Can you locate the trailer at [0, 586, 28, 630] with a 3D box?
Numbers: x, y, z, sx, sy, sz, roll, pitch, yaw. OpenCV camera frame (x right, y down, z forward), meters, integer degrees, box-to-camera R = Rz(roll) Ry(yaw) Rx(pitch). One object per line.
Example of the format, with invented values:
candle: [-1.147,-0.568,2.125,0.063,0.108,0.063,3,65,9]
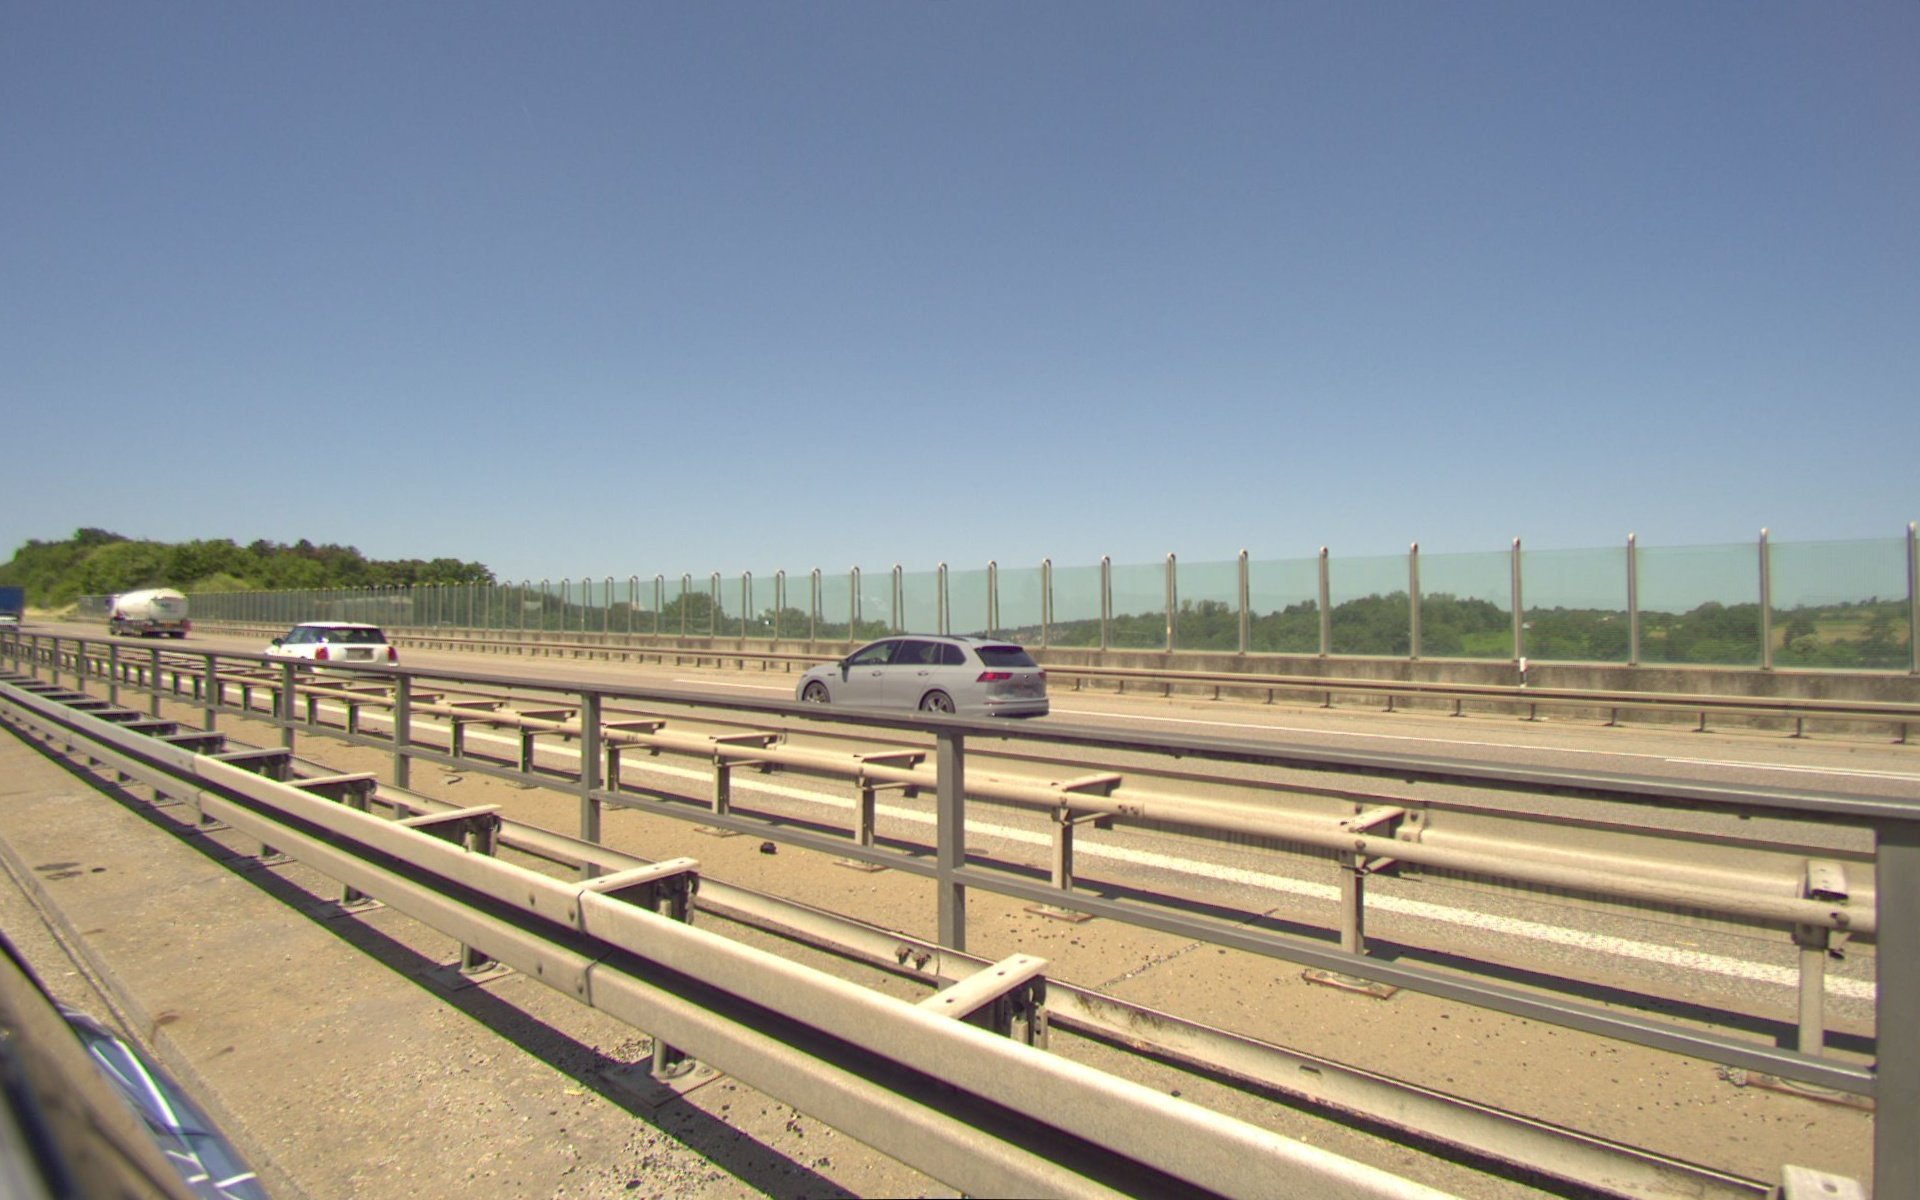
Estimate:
trailer: [-96.128,0.759,101.348,12.042,4.197,2.676,0,-2,41]

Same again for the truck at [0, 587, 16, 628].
truck: [-100.790,0.783,105.482,6.262,4.148,2.724,0,-2,41]

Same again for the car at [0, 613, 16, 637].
car: [-67.375,1.690,70.553,3.997,1.652,1.788,0,-3,40]

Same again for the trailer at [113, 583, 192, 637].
trailer: [-57.487,0.731,71.900,10.899,3.567,2.472,0,-2,42]

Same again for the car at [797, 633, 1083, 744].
car: [-0.409,1.291,15.966,4.382,1.453,1.852,-1,-3,41]

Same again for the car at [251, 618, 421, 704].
car: [-12.875,1.229,20.829,3.606,1.541,1.852,-1,-6,41]

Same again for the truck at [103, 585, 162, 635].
truck: [-62.167,0.747,75.994,5.328,3.562,2.494,0,-2,42]
